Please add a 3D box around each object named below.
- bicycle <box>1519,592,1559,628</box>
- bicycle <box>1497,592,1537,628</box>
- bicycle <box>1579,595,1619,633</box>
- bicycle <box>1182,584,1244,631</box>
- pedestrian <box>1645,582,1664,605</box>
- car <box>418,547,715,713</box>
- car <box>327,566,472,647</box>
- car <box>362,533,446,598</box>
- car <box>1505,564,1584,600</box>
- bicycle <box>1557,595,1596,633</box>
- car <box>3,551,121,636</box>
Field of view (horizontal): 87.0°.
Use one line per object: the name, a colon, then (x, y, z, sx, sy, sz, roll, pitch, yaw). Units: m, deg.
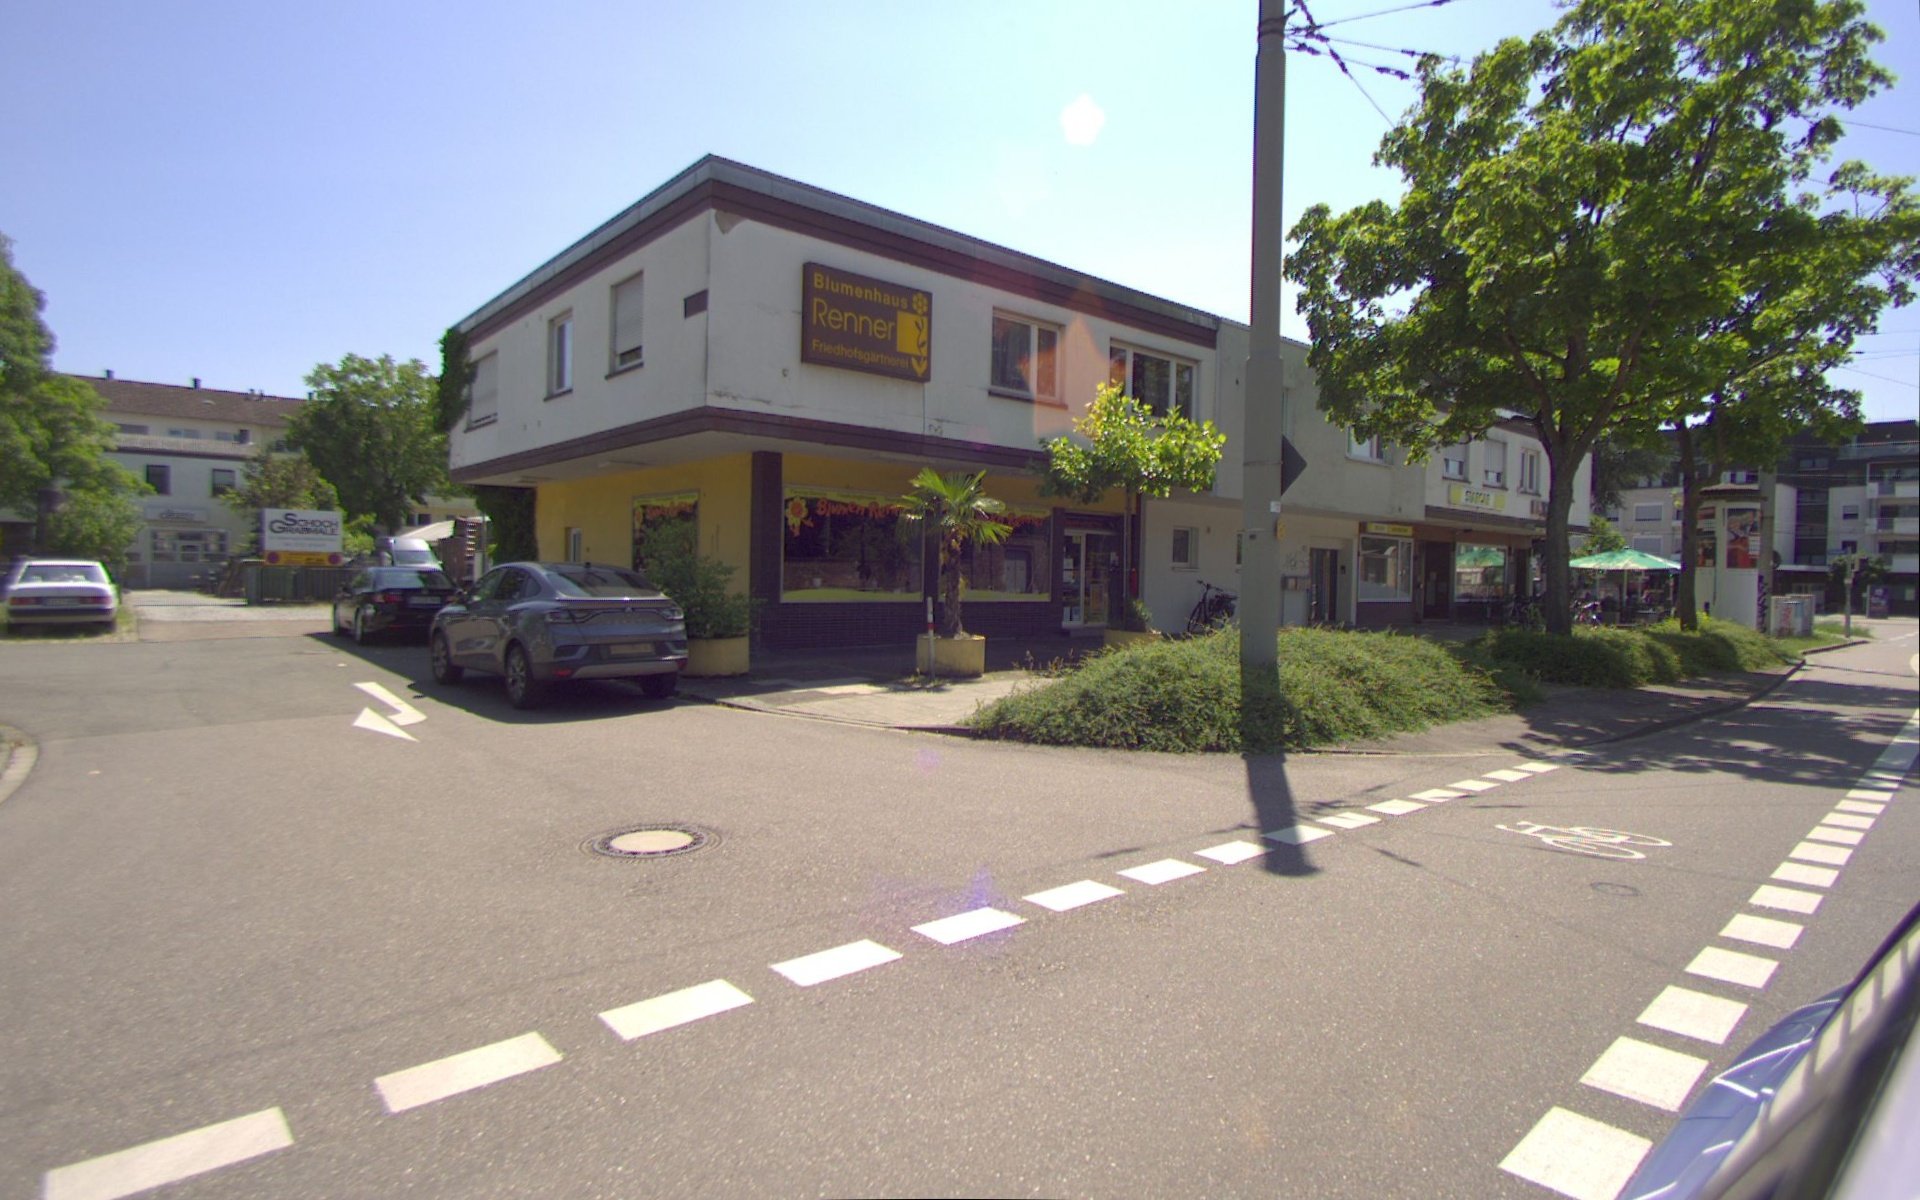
bicycle: (17.803, 0.293, 31.095, 0.542, 1.081, 1.989, 2, 2, 45)
bicycle: (17.358, 0.301, 31.504, 0.542, 1.081, 1.989, 2, 2, 45)
bicycle: (18.789, 0.388, 29.745, 0.542, 1.081, 1.989, 2, 2, 45)
bicycle: (6.075, 0.161, 24.216, 0.542, 1.081, 1.870, 2, 2, 45)
pedestrian: (50.211, -0.444, 73.131, 0.925, 1.645, 0.808, 0, 1, -35)
car: (-4.845, 0.235, 12.142, 1.912, 1.631, 4.143, 0, 2, -43)
car: (-10.894, 0.050, 19.531, 1.717, 1.392, 4.148, 0, 2, -39)
car: (-22.417, -1.384, 40.714, 1.965, 2.443, 5.082, 0, 1, -40)
car: (47.917, -1.493, 83.087, 1.966, 2.761, 5.199, 0, 2, -41)
bicycle: (18.397, 0.395, 30.182, 0.542, 1.081, 1.989, 2, 2, 45)
car: (-17.911, -0.194, 20.322, 1.603, 1.454, 3.990, 0, 3, -39)
